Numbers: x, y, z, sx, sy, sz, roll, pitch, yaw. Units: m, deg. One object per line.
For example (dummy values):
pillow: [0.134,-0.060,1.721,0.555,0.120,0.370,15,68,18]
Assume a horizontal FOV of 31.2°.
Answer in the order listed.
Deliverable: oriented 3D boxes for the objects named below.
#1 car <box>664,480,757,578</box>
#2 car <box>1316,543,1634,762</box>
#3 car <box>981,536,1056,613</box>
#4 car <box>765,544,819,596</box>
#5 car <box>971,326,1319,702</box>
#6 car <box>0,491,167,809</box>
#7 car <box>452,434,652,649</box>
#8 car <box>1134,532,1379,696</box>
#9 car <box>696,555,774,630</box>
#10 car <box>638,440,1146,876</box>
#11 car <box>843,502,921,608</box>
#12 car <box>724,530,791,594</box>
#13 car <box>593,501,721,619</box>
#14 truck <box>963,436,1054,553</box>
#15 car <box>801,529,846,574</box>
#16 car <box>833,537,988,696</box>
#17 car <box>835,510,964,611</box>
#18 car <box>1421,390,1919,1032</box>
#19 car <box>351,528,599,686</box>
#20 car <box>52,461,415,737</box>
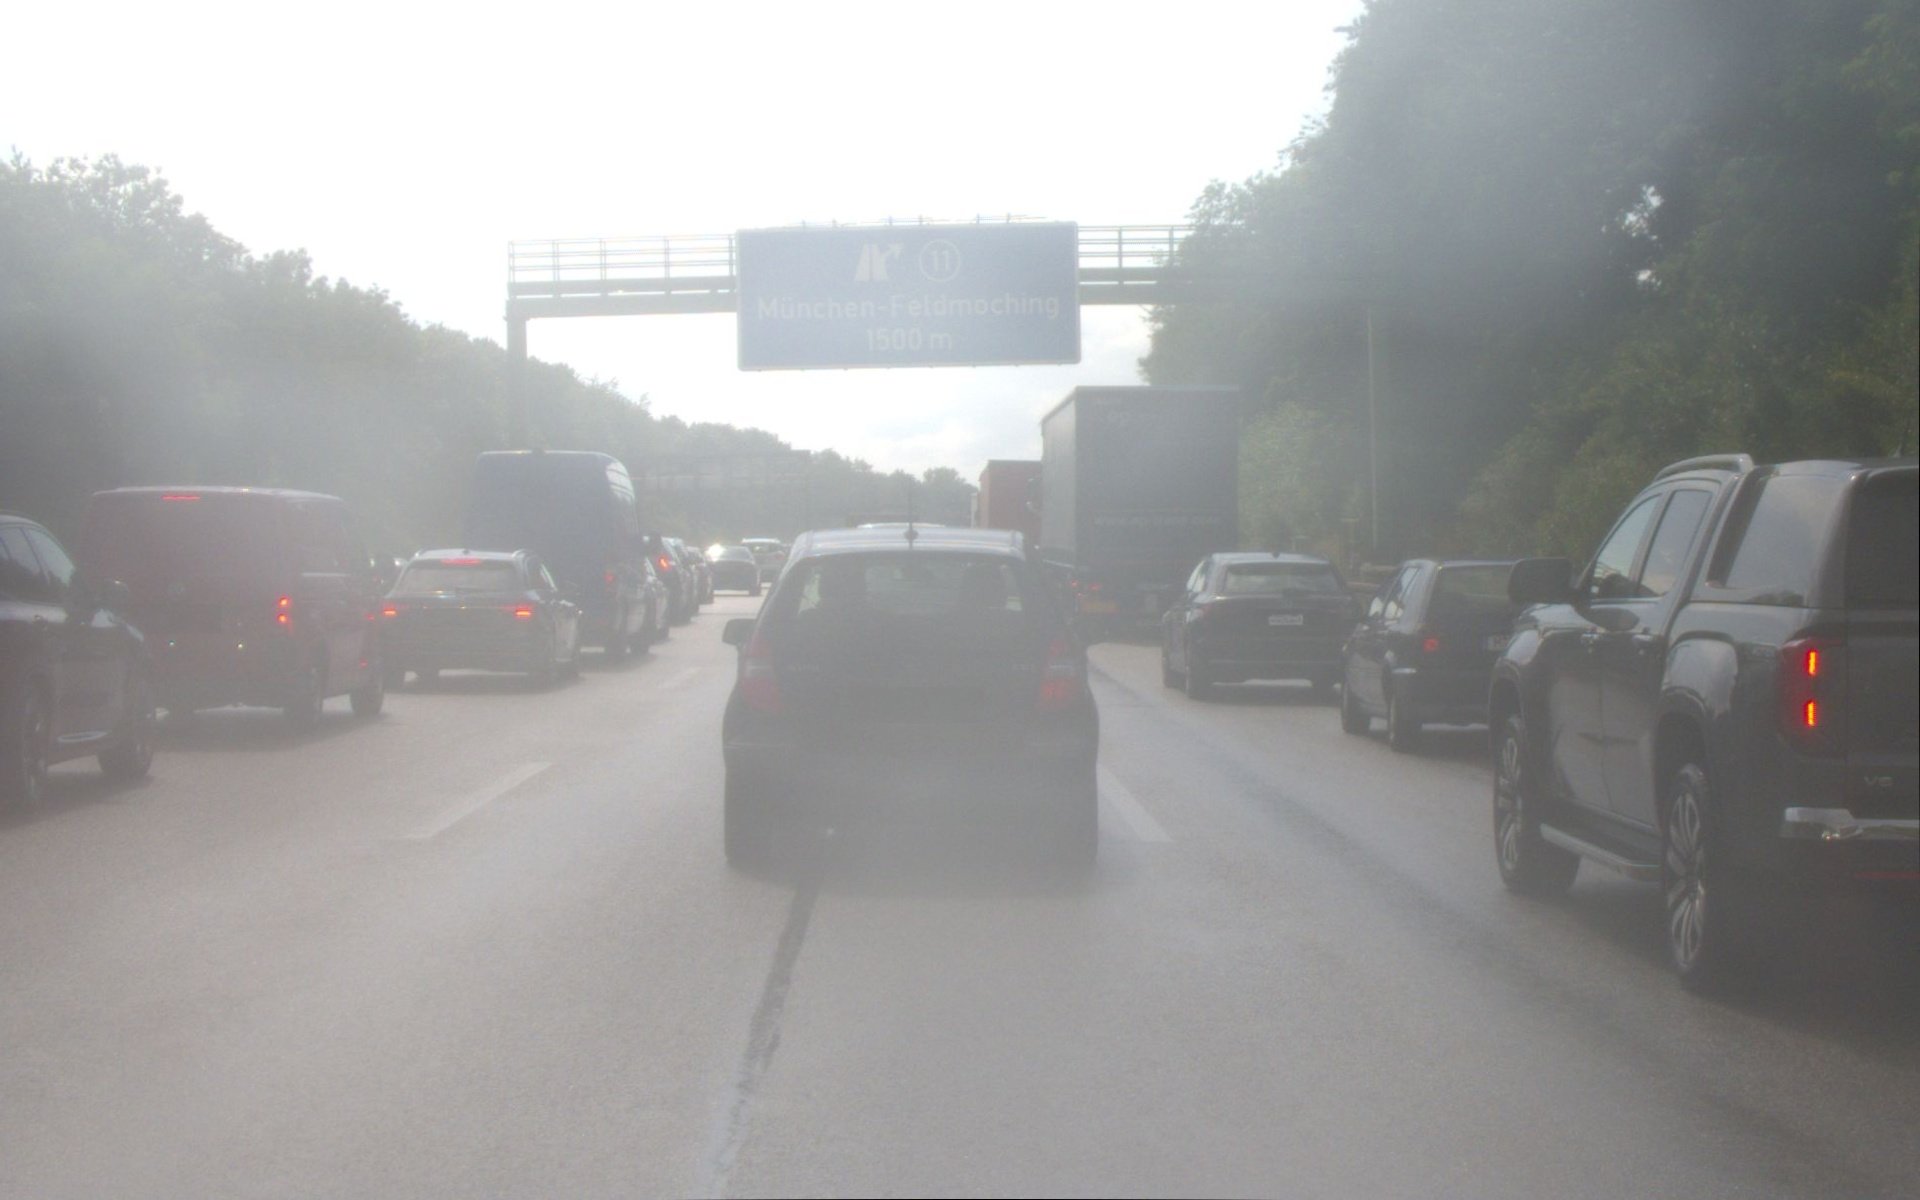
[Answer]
car: [-6.275,-1.767,87.029,1.993,2.377,5.260,1,1,0]
car: [3.778,0.344,25.825,1.590,1.511,3.976,1,1,-3]
car: [1.634,-0.724,97.833,1.993,2.108,4.889,1,1,0]
car: [-6.941,-1.236,142.254,1.993,2.108,4.889,1,1,0]
car: [2.913,-1.421,61.880,4.403,5.810,16.820,1,1,-3]
car: [-5.966,0.251,19.891,1.908,1.631,4.617,-1,1,-3]
car: [-5.215,-0.741,44.604,1.993,2.606,5.260,1,1,0]
car: [2.870,0.111,34.101,1.864,1.511,3.976,1,1,-3]
car: [-6.531,-0.243,100.187,1.993,2.108,4.889,1,1,0]
car: [-0.405,0.238,17.919,2.274,1.948,4.822,1,1,-2]
car: [-2.060,-1.194,92.366,1.993,2.737,5.260,1,1,0]
car: [-6.863,-1.289,116.934,1.993,2.108,4.889,1,1,0]
car: [-5.647,-0.748,64.554,1.993,2.108,4.889,1,1,0]
truck: [1.539,-3.350,110.924,2.775,3.619,5.917,1,1,0]
car: [-6.645,-2.359,167.805,1.993,2.108,4.889,1,1,0]
car: [-0.638,0.172,41.195,1.692,1.798,3.976,1,1,-3]
car: [-0.984,-0.616,53.917,1.864,1.511,3.976,1,1,-3]
car: [3.191,0.309,13.101,1.941,1.912,5.652,1,1,-2]
car: [-5.093,0.048,36.706,1.993,1.559,4.756,1,1,0]
car: [-5.828,-0.030,28.175,1.978,2.047,4.756,1,1,0]
